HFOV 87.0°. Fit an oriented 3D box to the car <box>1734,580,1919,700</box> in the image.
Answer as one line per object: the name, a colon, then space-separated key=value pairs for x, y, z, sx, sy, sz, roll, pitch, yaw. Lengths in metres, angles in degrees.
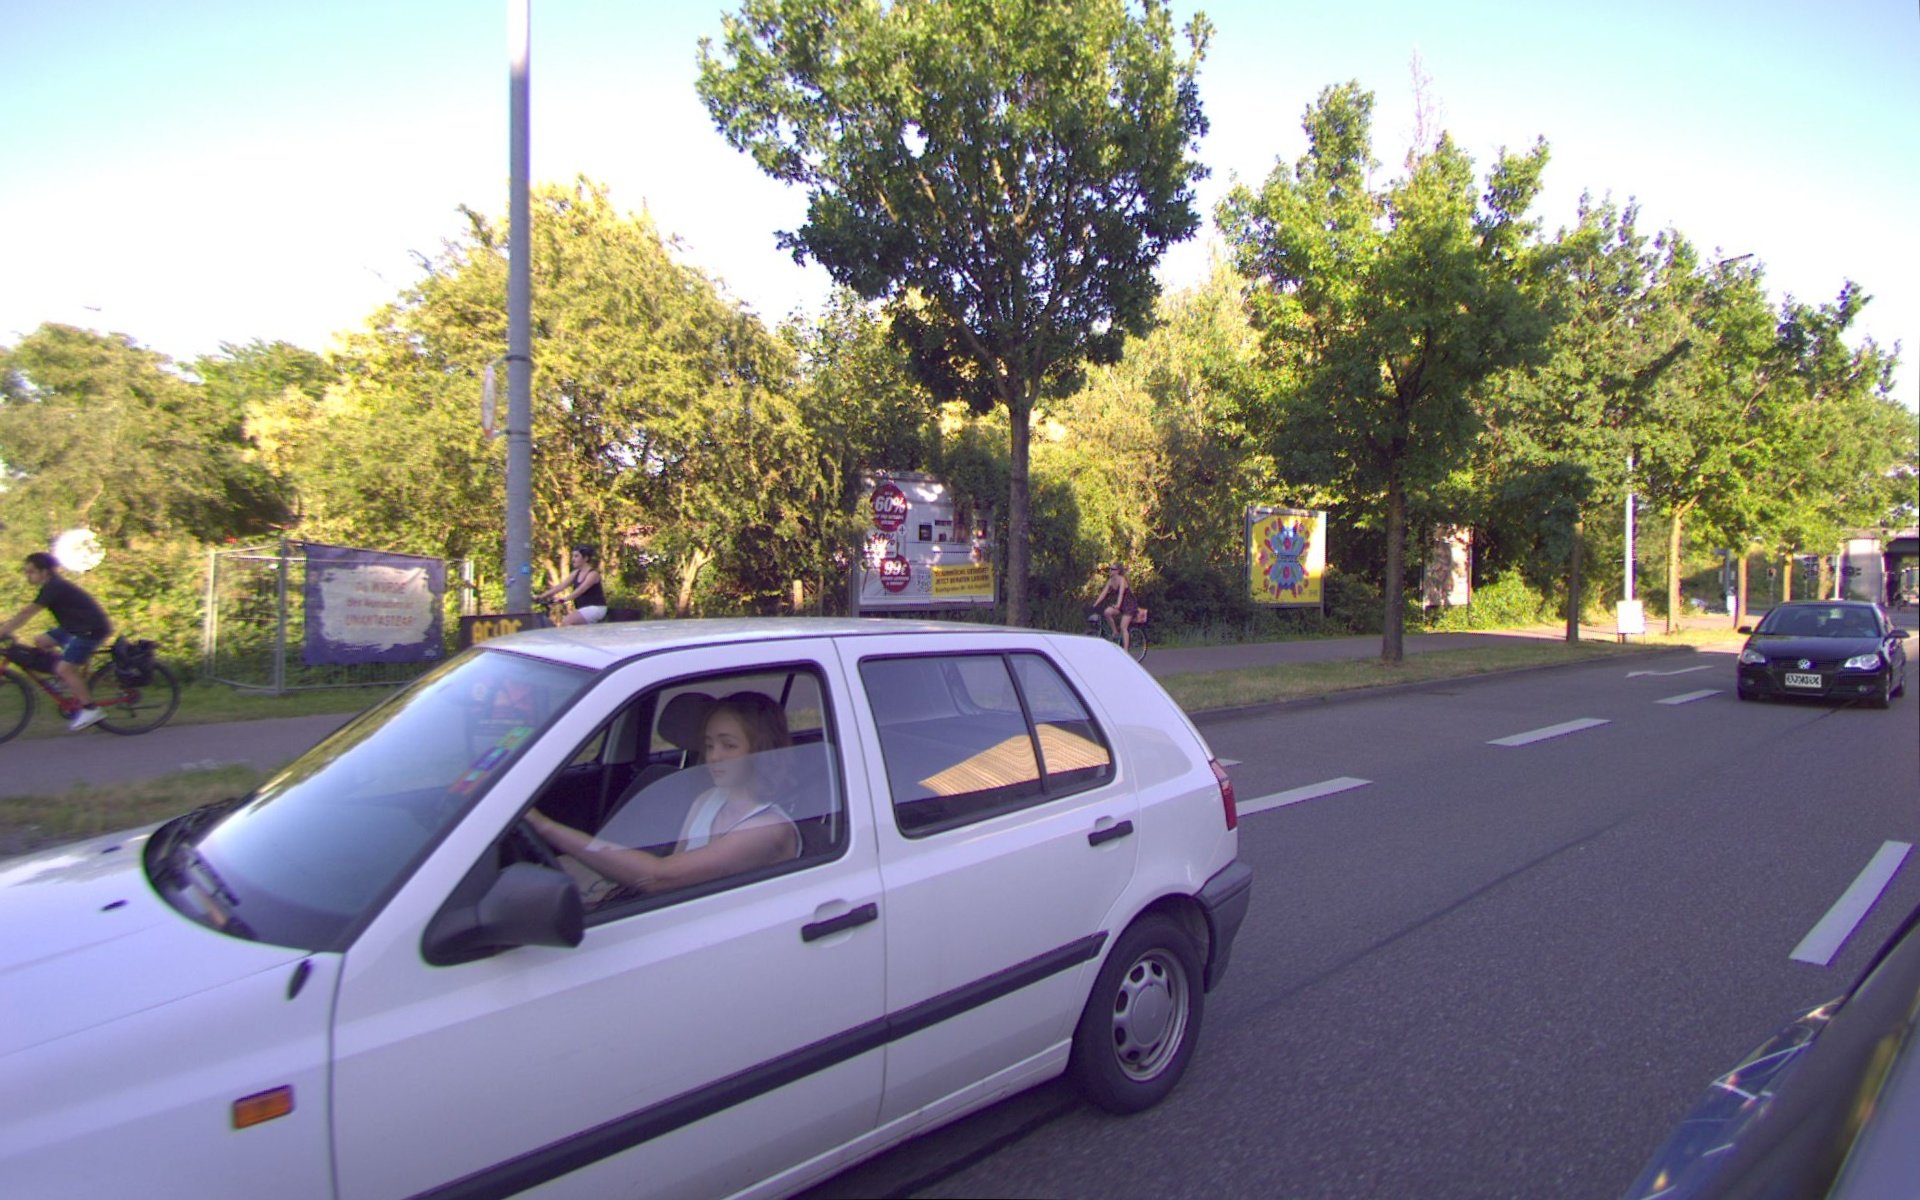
car: x=12.843 y=0.521 z=14.840 sx=4.143 sy=1.518 sz=1.723 roll=1 pitch=-1 yaw=-43

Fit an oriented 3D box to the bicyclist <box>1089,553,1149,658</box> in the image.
bicyclist: x=2.716 y=0.077 z=17.317 sx=0.833 sy=1.755 sz=0.604 roll=0 pitch=1 yaw=-40

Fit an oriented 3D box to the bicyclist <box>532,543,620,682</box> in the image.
bicyclist: x=-4.589 y=0.128 z=12.100 sx=0.833 sy=1.598 sz=0.604 roll=0 pitch=1 yaw=-40

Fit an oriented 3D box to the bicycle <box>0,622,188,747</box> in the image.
bicycle: x=-7.931 y=0.718 z=8.903 sx=1.790 sy=0.986 sz=0.618 roll=-1 pitch=2 yaw=-40

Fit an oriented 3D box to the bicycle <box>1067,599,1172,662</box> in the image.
bicycle: x=2.759 y=0.497 z=17.370 sx=2.022 sy=0.986 sz=0.618 roll=-1 pitch=2 yaw=-40

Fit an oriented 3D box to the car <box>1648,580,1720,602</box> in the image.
car: x=57.476 y=-0.736 z=80.398 sx=1.896 sy=1.537 sz=4.289 roll=0 pitch=3 yaw=-38

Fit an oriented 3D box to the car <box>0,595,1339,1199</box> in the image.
car: x=-0.721 y=0.707 z=2.760 sx=3.968 sy=1.416 sz=1.613 roll=0 pitch=-1 yaw=-41

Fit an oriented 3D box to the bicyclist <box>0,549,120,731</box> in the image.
bicyclist: x=-7.931 y=0.323 z=8.898 sx=0.833 sy=1.520 sz=0.614 roll=0 pitch=1 yaw=-40

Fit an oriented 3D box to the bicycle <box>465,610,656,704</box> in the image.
bicycle: x=-4.704 y=0.637 z=12.019 sx=2.022 sy=0.986 sz=0.618 roll=-1 pitch=2 yaw=-40
